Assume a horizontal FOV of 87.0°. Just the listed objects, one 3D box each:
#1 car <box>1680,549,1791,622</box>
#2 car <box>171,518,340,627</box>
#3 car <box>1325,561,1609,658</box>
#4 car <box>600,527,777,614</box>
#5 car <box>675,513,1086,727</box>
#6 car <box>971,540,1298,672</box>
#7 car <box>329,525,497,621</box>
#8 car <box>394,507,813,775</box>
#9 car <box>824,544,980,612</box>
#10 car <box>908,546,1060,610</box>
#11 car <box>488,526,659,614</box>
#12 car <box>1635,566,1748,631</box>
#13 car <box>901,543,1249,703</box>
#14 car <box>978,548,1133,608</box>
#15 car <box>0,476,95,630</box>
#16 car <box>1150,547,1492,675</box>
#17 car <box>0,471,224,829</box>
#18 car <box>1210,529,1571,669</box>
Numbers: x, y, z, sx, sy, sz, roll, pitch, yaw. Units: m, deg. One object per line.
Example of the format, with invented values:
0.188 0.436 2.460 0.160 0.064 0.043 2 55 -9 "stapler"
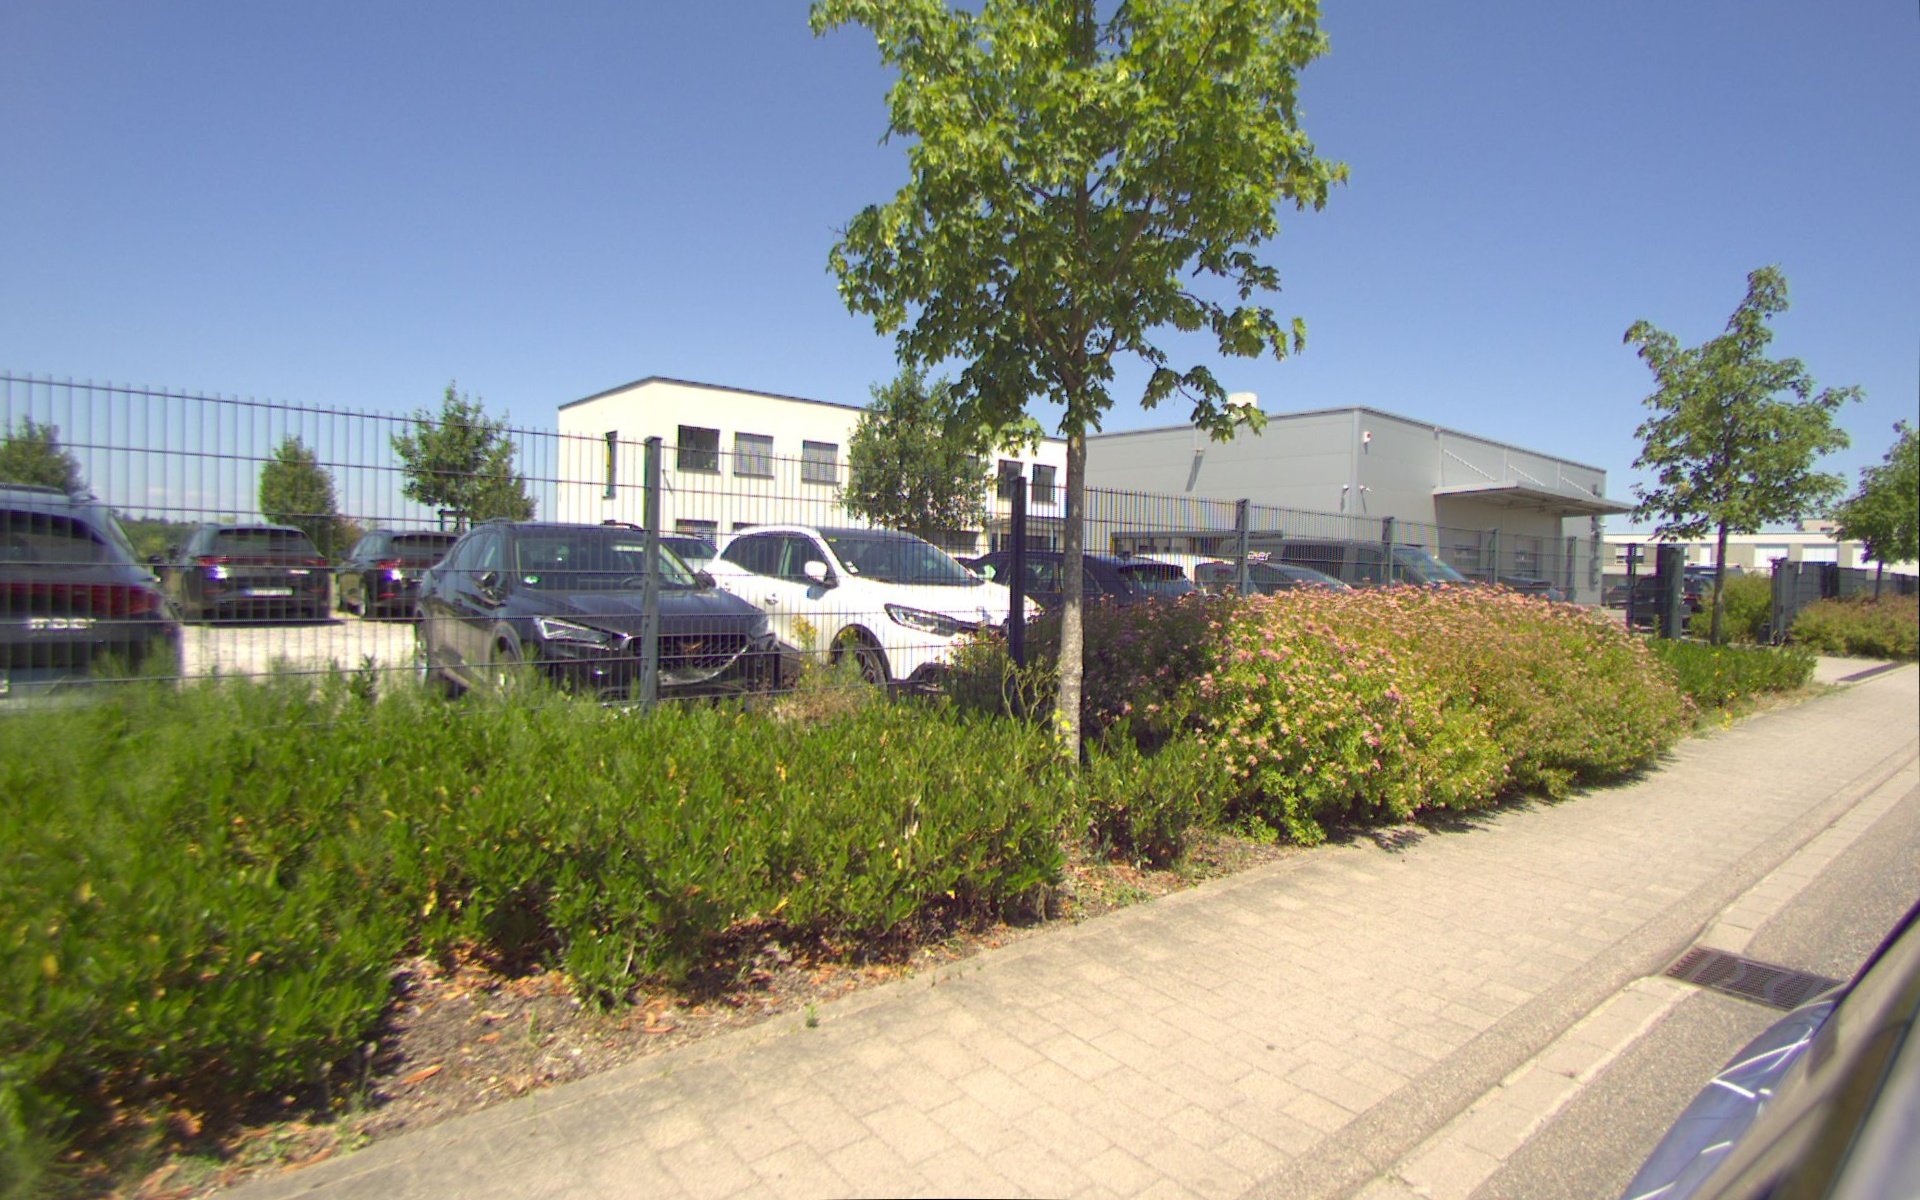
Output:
24.516 -0.456 31.947 4.151 2.112 1.881 0 3 -40 "car"
-10.600 -0.474 15.106 1.693 1.405 4.050 0 3 -40 "car"
9.015 0.086 18.282 1.734 1.439 4.224 0 3 -41 "car"
-5.538 -0.645 20.324 1.885 1.571 4.050 0 3 -40 "car"
-0.932 0.044 9.374 1.790 1.540 3.996 0 3 -40 "car"
2.221 -0.027 13.886 1.724 1.462 4.289 0 3 -40 "car"
-9.191 -0.512 16.850 1.693 1.405 3.914 0 3 -40 "car"
-2.955 0.115 7.793 1.713 1.509 4.050 0 3 -40 "car"
-1.425 -0.558 23.578 1.734 1.420 3.885 0 3 -37 "car"
0.525 -0.587 25.305 1.734 1.420 3.885 0 3 -37 "car"
-7.362 -0.617 19.059 1.745 1.466 4.050 0 3 -40 "car"
19.917 -0.077 27.504 3.811 1.574 1.547 0 4 -40 "car"
1.112 0.125 11.115 1.616 1.439 3.673 0 3 -40 "car"
2.475 -0.619 26.989 1.787 1.420 3.996 0 3 -40 "car"
-12.782 -0.664 13.484 1.885 1.822 4.050 0 3 -40 "car"
4.938 0.039 14.391 1.574 1.467 4.355 0 3 -40 "car"
-5.506 0.106 5.720 1.885 1.522 4.050 0 3 -40 "car"
6.851 -0.153 16.666 1.869 1.896 5.126 0 4 -40 "car"
